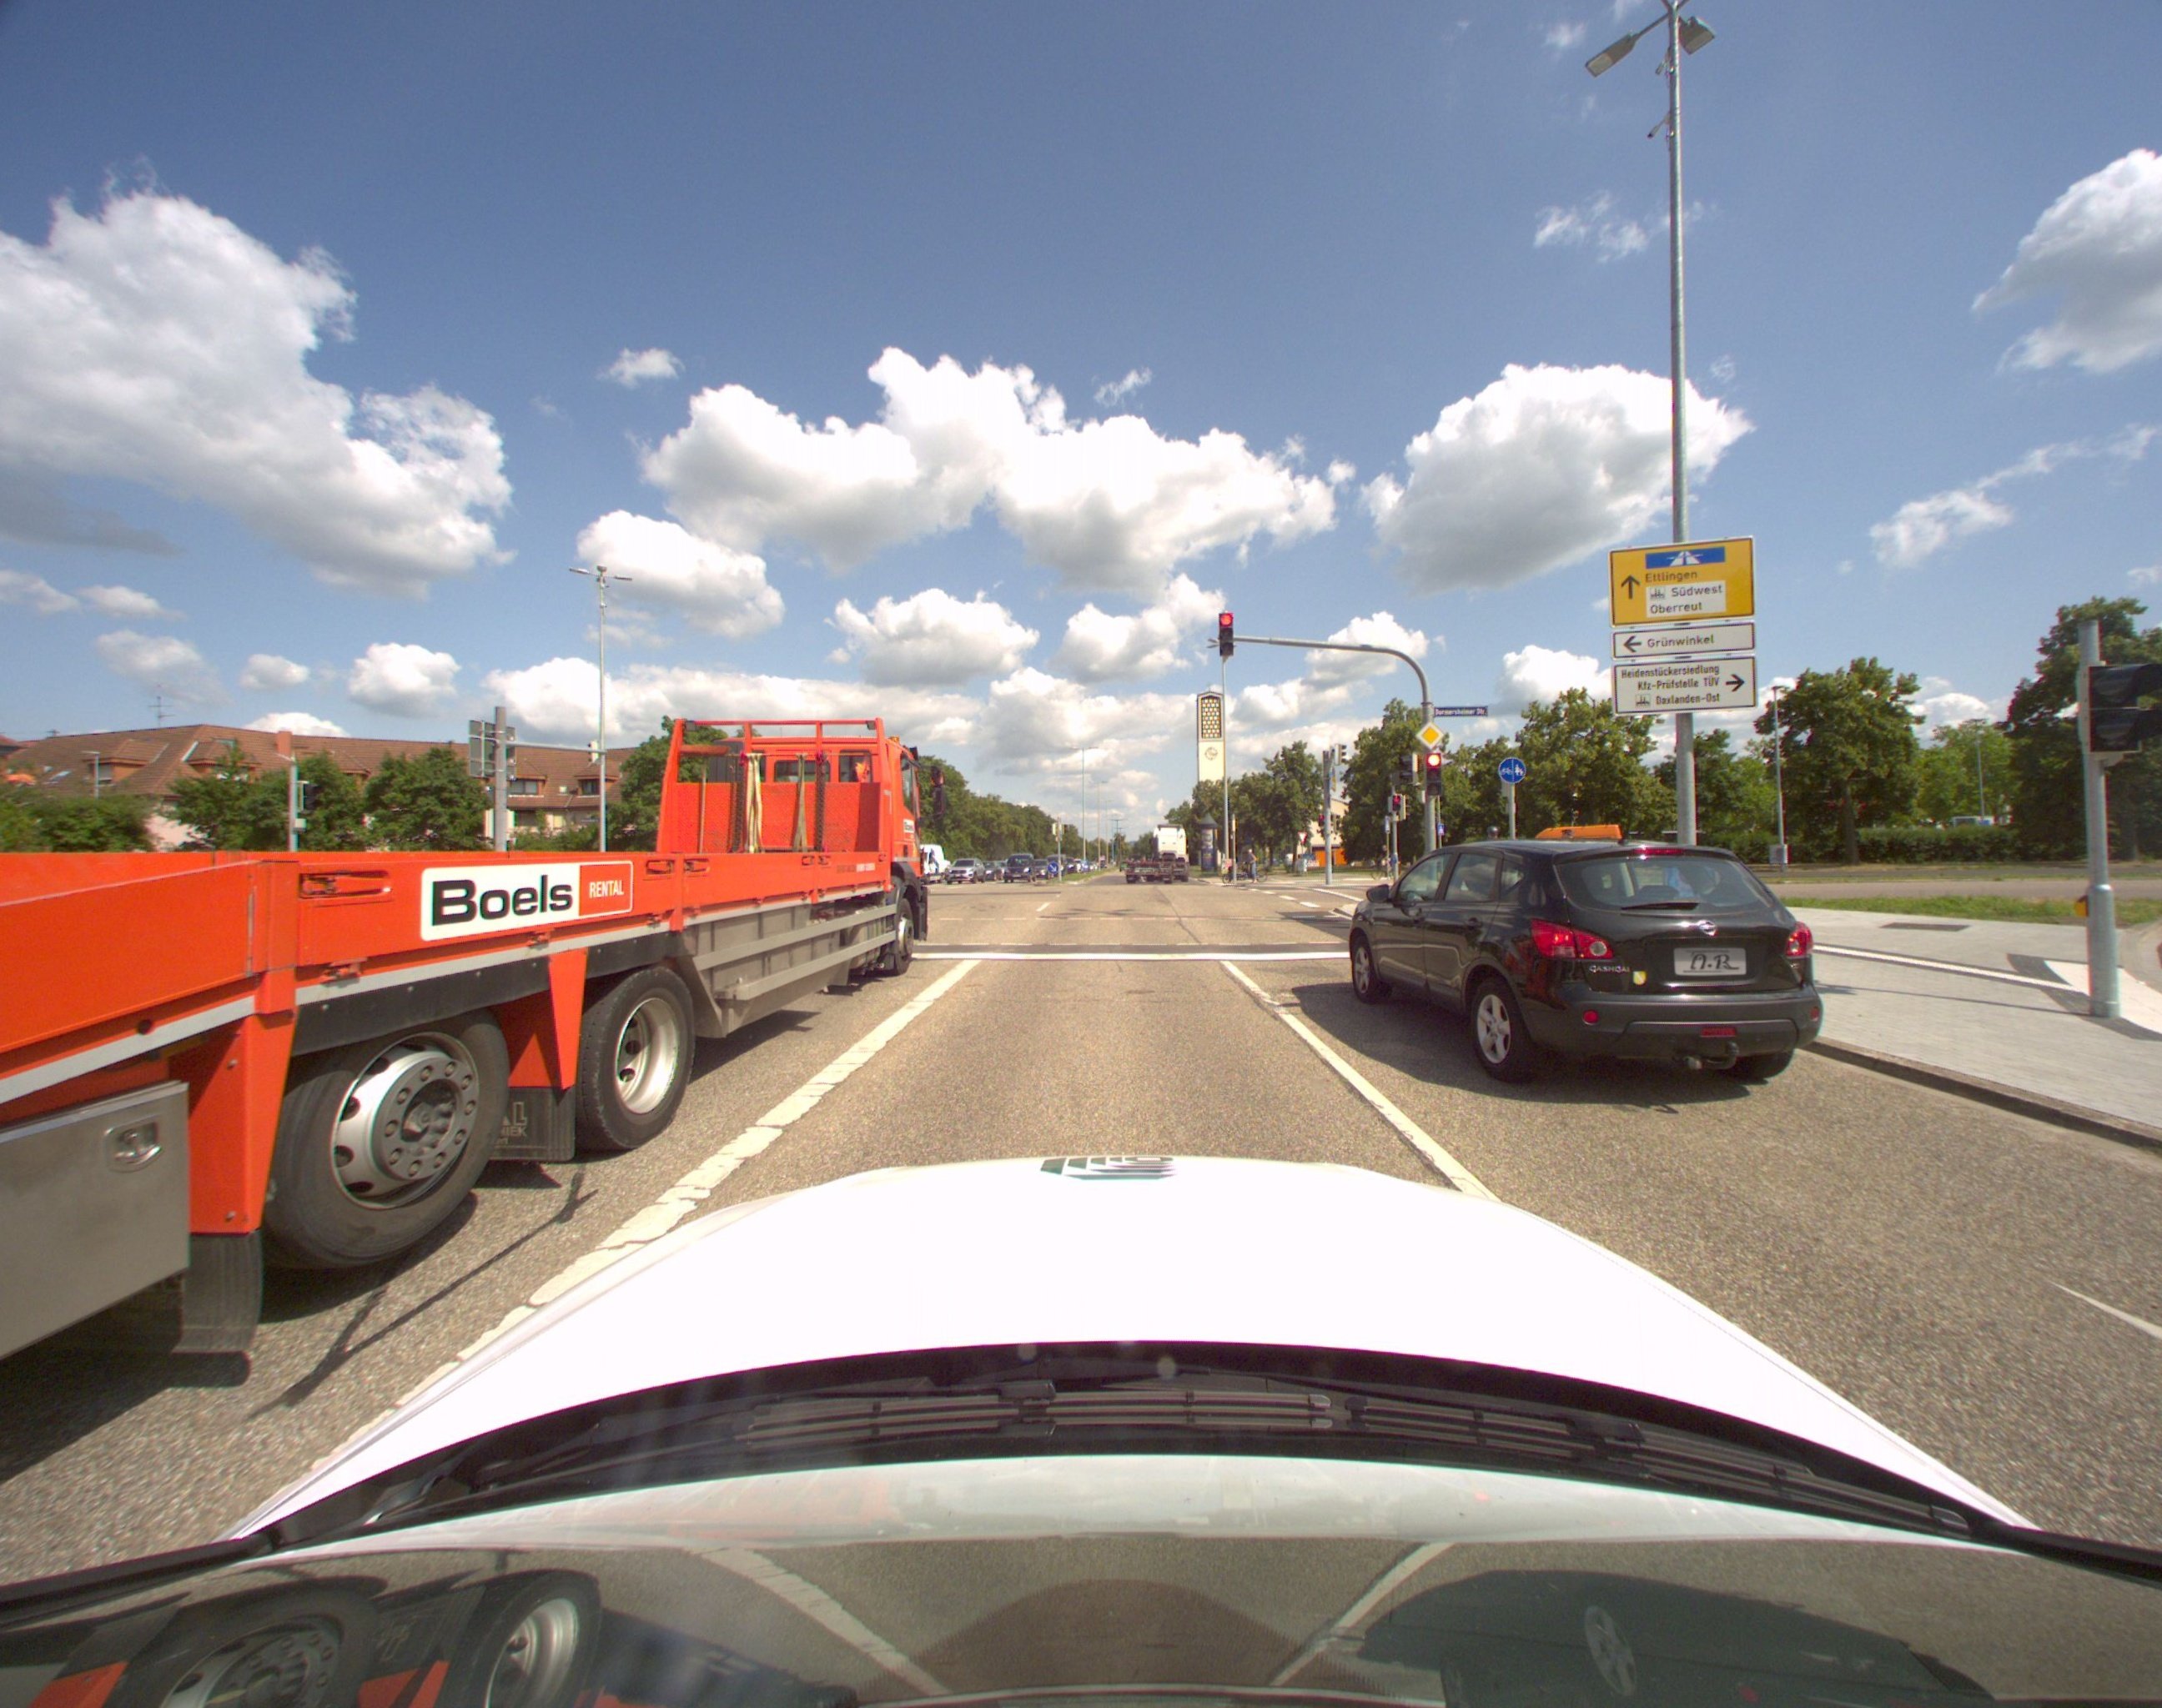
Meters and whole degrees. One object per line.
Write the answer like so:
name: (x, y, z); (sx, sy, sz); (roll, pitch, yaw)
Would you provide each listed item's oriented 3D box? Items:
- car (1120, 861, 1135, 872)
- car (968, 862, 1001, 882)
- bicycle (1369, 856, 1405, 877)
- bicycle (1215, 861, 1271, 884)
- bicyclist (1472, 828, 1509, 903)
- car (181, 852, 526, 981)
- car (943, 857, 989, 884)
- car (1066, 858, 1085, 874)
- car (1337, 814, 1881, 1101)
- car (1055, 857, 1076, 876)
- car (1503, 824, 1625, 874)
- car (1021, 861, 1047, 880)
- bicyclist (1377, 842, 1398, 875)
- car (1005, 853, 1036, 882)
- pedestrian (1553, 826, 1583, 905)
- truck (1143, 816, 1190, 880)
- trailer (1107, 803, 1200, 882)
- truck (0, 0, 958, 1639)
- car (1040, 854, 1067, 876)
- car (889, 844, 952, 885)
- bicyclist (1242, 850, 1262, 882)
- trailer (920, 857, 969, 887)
car: (6.358, 1.720, 112.286); (1.986, 1.552, 4.002); (1, -1, 2)
car: (-6.680, 1.247, 56.873); (1.757, 1.352, 3.521); (-1, -1, 2)
bicycle: (17.082, 0.696, 45.468); (2.005, 1.093, 0.680); (0, -1, -23)
bicycle: (8.284, 0.920, 41.729); (2.844, 1.112, 0.792); (-1, 0, -22)
bicyclist: (9.257, 0.252, 18.423); (0.643, 1.661, 0.653); (1, -1, 16)
car: (-11.137, 0.835, 12.936); (1.788, 1.689, 4.001); (-2, 0, 1)
car: (-7.070, 1.016, 50.480); (1.725, 1.543, 4.316); (1, -1, 7)
car: (-0.604, 1.345, 89.716); (1.727, 1.660, 4.234); (1, -1, 3)
car: (3.550, 0.593, 6.495); (1.793, 1.552, 4.000); (1, -1, 0)
car: (-1.461, 1.199, 78.464); (1.728, 1.660, 4.233); (1, -1, 2)
car: (22.608, -0.207, 38.263); (4.798, 2.226, 2.225); (1, -1, 31)
car: (-3.316, 1.161, 57.753); (1.563, 1.316, 3.431); (1, -1, 0)
bicyclist: (17.125, 0.251, 45.492); (0.790, 1.804, 0.680); (0, -1, -23)
car: (-3.698, 0.832, 50.203); (1.730, 1.660, 4.227); (1, -1, -2)
pedestrian: (11.110, 0.263, 18.583); (0.461, 1.779, 0.483); (1, -1, 12)
truck: (5.892, -0.295, 55.557); (2.944, 3.971, 8.653); (0, -1, 7)
trailer: (4.503, -0.462, 47.429); (3.594, 4.012, 11.361); (-1, -1, 14)
truck: (-3.355, -0.297, 5.902); (3.060, 3.414, 11.068); (1, -1, 1)
car: (-2.165, 0.856, 65.254); (1.727, 1.660, 4.234); (1, 0, 3)
car: (-10.226, 0.663, 52.422); (2.163, 2.471, 5.978); (1, -1, 7)
bicyclist: (8.801, 0.625, 41.933); (0.701, 1.616, 0.792); (0, 0, -21)
trailer: (-9.644, 1.237, 57.998); (2.113, 2.014, 5.170); (1, -1, 6)
